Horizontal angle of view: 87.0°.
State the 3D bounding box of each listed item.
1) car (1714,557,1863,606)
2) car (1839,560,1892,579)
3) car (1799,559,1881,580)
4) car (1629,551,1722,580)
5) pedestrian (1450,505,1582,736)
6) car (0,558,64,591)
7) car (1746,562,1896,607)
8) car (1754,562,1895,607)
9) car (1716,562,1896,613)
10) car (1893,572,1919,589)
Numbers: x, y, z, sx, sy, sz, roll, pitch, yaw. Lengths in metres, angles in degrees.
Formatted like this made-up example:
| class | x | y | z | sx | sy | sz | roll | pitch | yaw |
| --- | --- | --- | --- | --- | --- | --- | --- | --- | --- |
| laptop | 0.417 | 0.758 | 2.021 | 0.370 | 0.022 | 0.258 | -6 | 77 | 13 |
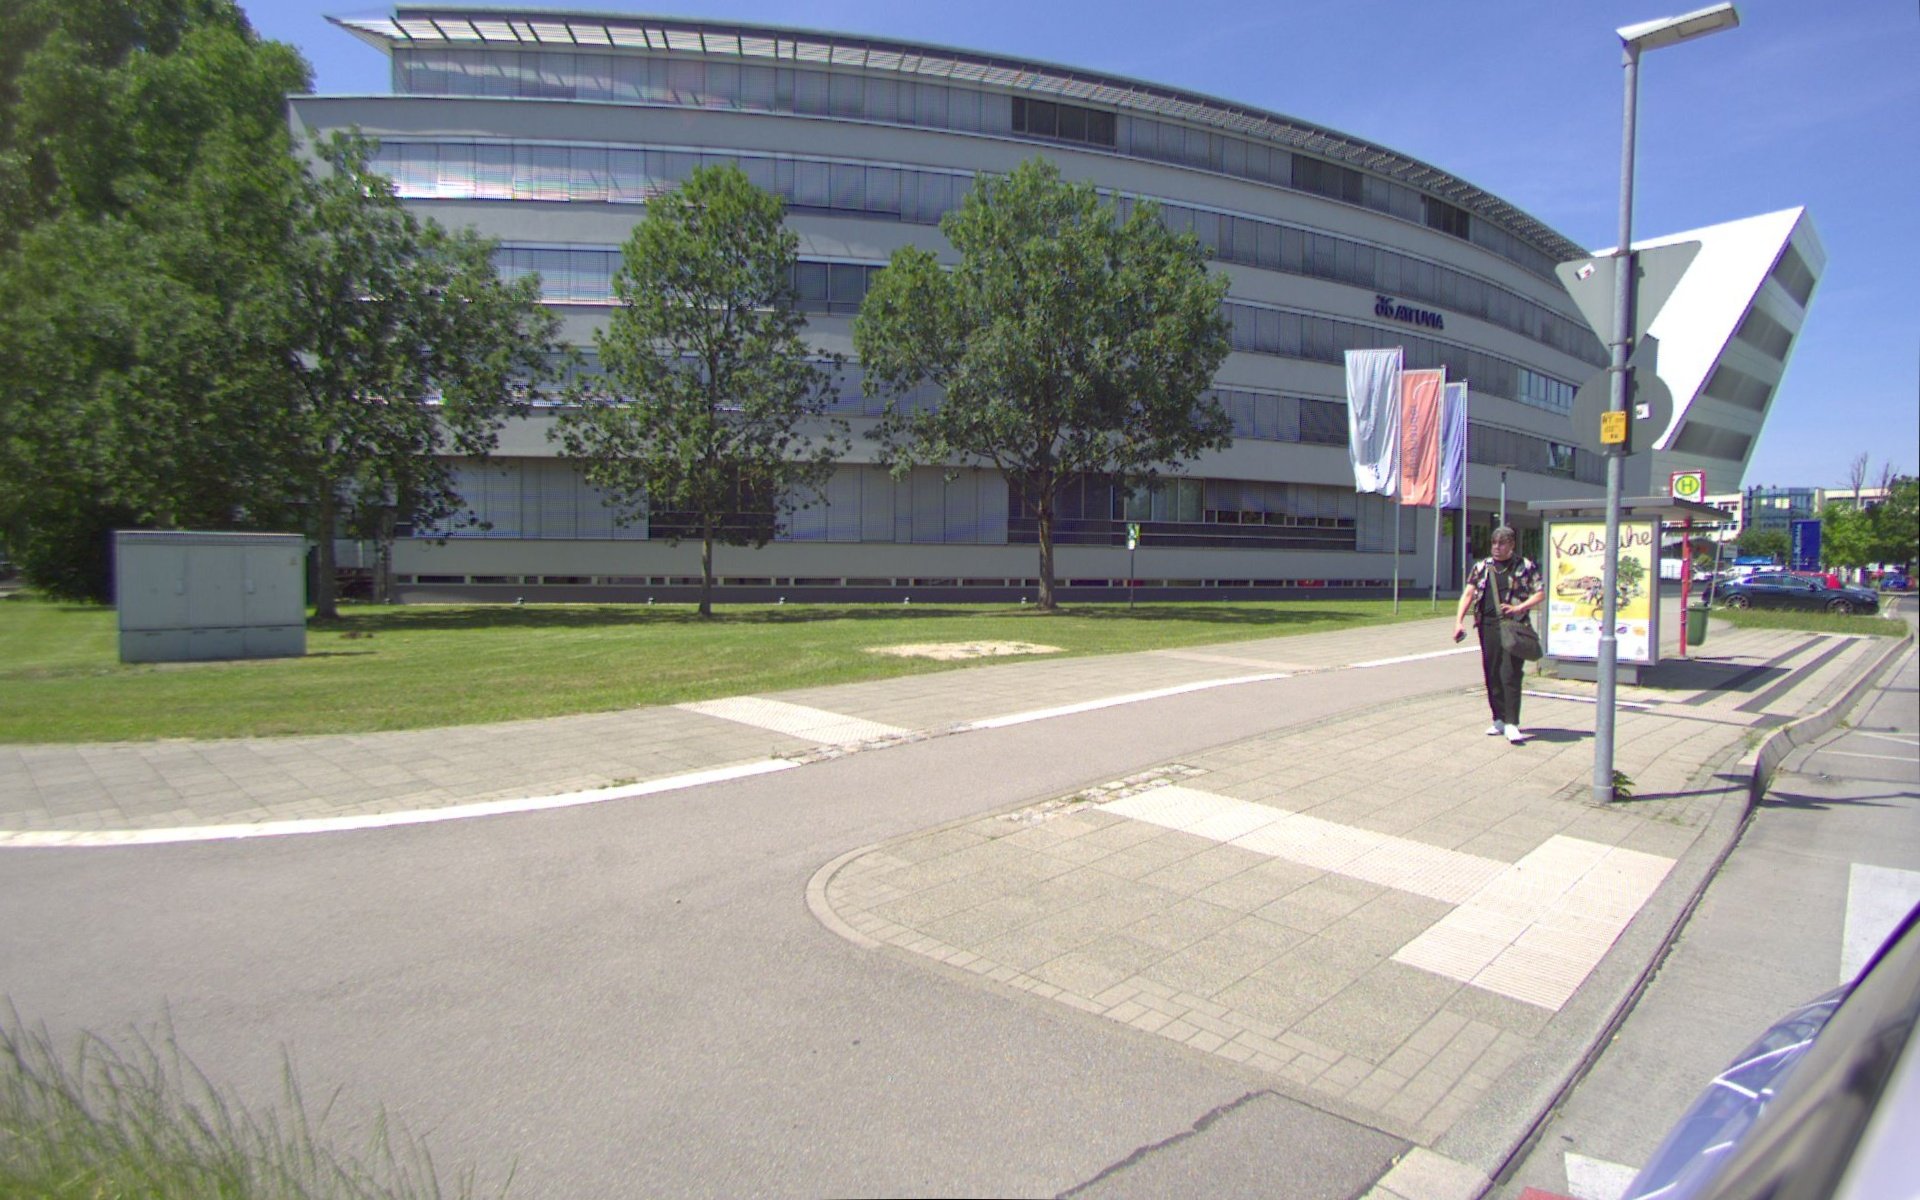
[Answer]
| class | x | y | z | sx | sy | sz | roll | pitch | yaw |
| --- | --- | --- | --- | --- | --- | --- | --- | --- | --- |
| car | 30.054 | -0.729 | 36.800 | 1.809 | 1.675 | 3.992 | -2 | 3 | -43 |
| car | 99.980 | -3.390 | 111.806 | 1.673 | 2.000 | 4.205 | -2 | 2 | -39 |
| car | 94.753 | -3.246 | 109.046 | 2.126 | 2.176 | 6.493 | -2 | 2 | -39 |
| car | 68.772 | -3.313 | 97.449 | 2.212 | 2.695 | 6.970 | -1 | 2 | -35 |
| pedestrian | 4.718 | 0.138 | 8.595 | 0.708 | 1.844 | 0.813 | 4 | 4 | 45 |
| car | -59.974 | -1.630 | 64.440 | 3.917 | 2.039 | 2.004 | -1 | 1 | -10 |
| car | 33.688 | -0.655 | 39.676 | 1.757 | 1.582 | 4.325 | -2 | 4 | -44 |
| car | 32.219 | -0.613 | 37.777 | 1.628 | 1.504 | 3.812 | -2 | 4 | -43 |
| car | 28.805 | -0.472 | 34.566 | 4.569 | 1.449 | 1.799 | 5 | 5 | 43 |
| car | 85.817 | -1.790 | 91.721 | 1.797 | 1.517 | 3.939 | 0 | 2 | 43 |
